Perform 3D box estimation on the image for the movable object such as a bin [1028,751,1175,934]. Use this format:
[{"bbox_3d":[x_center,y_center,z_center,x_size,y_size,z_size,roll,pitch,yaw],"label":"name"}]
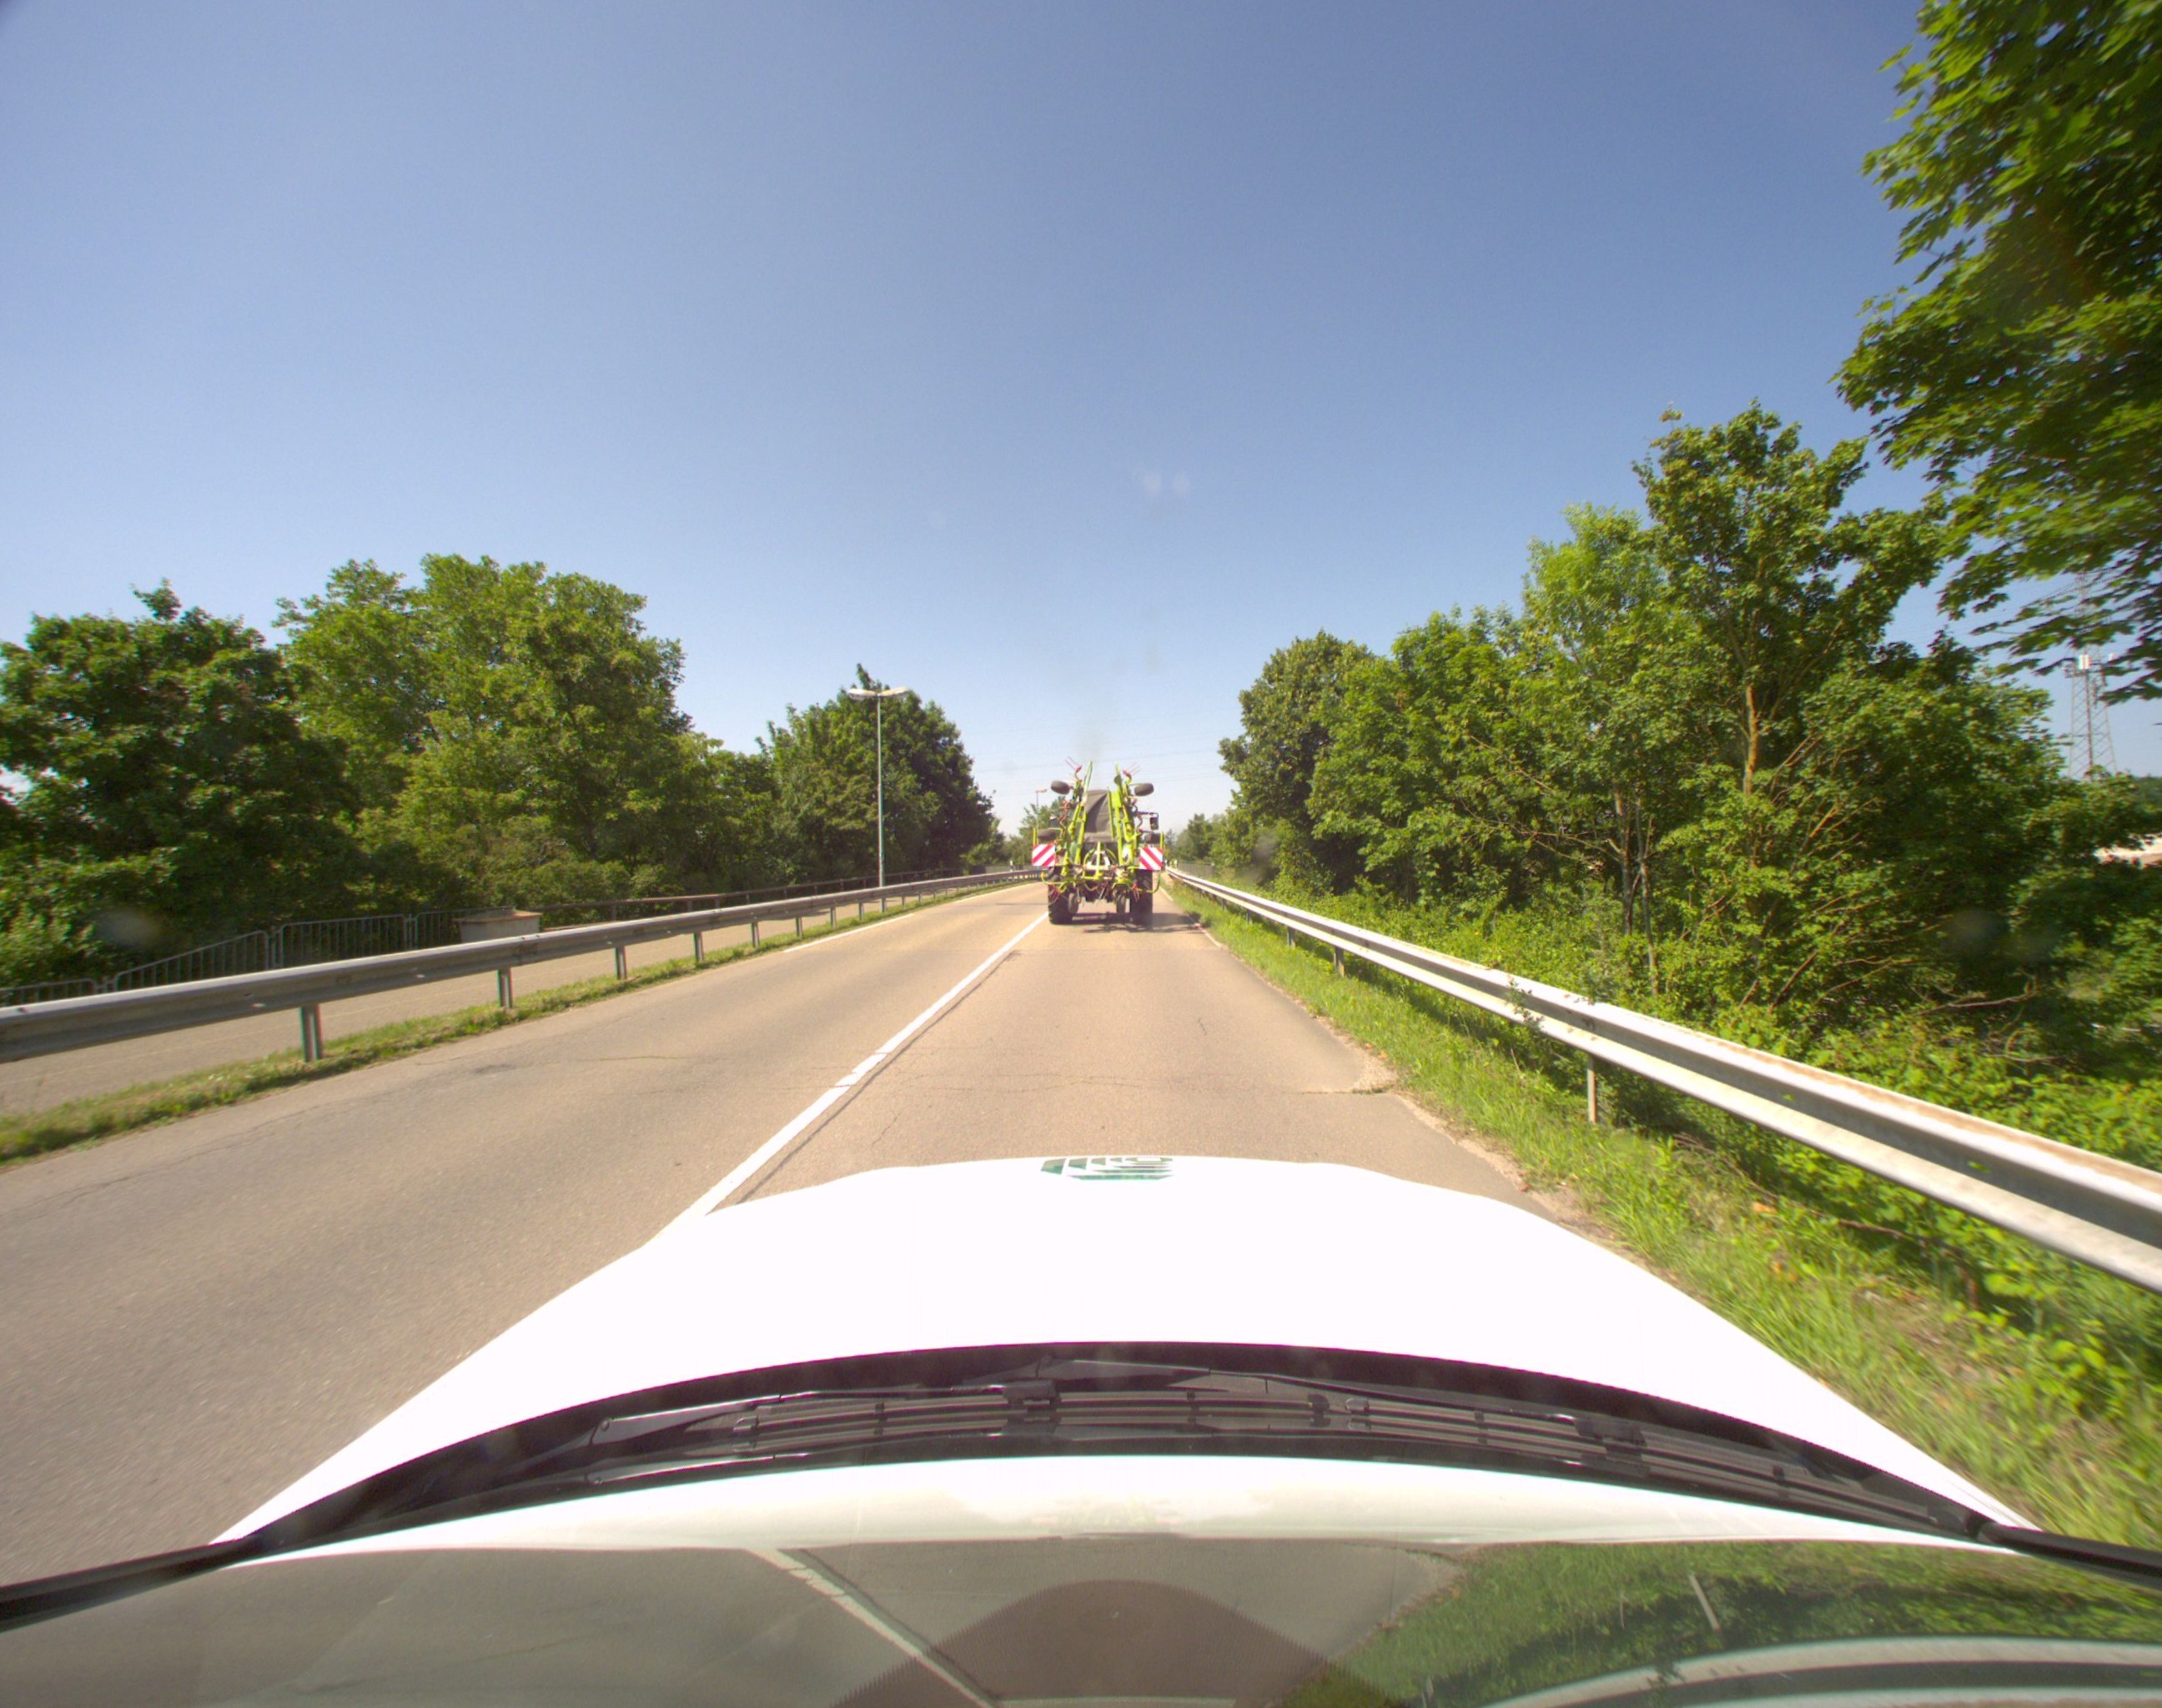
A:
[{"bbox_3d":[0.479,-0.217,18.268,2.745,3.444,5.672,-1,0,2],"label":"movable object such as a bin"}]
